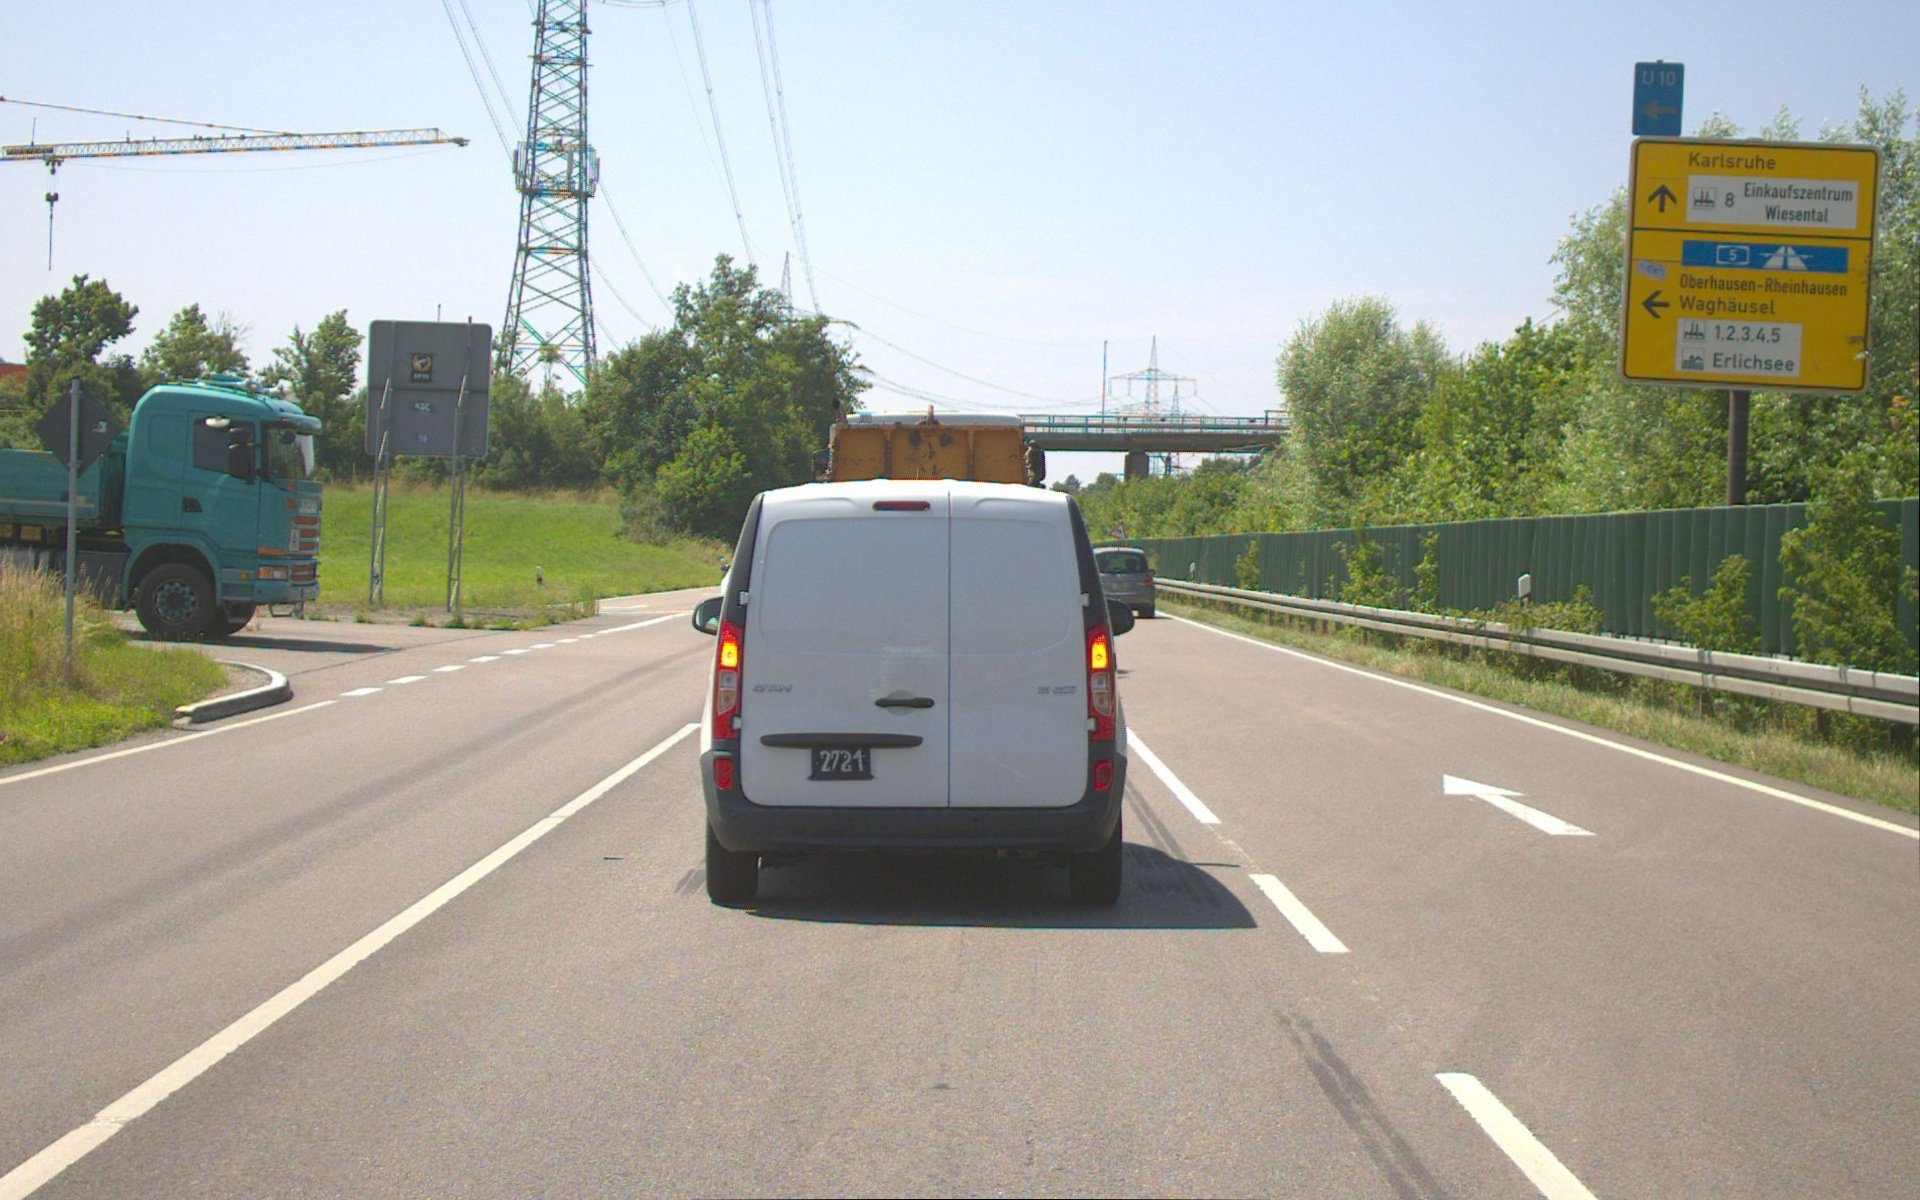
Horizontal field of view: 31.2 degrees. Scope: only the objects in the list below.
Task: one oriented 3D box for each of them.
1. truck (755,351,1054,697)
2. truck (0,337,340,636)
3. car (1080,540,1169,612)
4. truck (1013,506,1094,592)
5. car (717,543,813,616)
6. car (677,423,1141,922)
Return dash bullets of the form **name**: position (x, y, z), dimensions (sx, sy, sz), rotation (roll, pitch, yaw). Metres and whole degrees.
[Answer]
- **truck**: position (-0.421, -0.870, 38.040), dimensions (2.820, 3.277, 9.701), rotation (1, 2, 1)
- **truck**: position (-12.725, -1.641, 46.725), dimensions (7.905, 3.721, 2.498), rotation (3, 1, 3)
- **car**: position (3.713, -0.562, 78.039), dimensions (1.848, 1.568, 4.000), rotation (1, 1, 0)
- **truck**: position (3.055, -1.695, 114.112), dimensions (2.374, 2.680, 8.010), rotation (2, 1, 0)
- **car**: position (-4.099, -0.458, 72.845), dimensions (1.725, 1.436, 4.249), rotation (2, 1, 0)
- **car**: position (-0.209, 0.256, 15.690), dimensions (1.827, 1.964, 4.000), rotation (1, 1, 0)
